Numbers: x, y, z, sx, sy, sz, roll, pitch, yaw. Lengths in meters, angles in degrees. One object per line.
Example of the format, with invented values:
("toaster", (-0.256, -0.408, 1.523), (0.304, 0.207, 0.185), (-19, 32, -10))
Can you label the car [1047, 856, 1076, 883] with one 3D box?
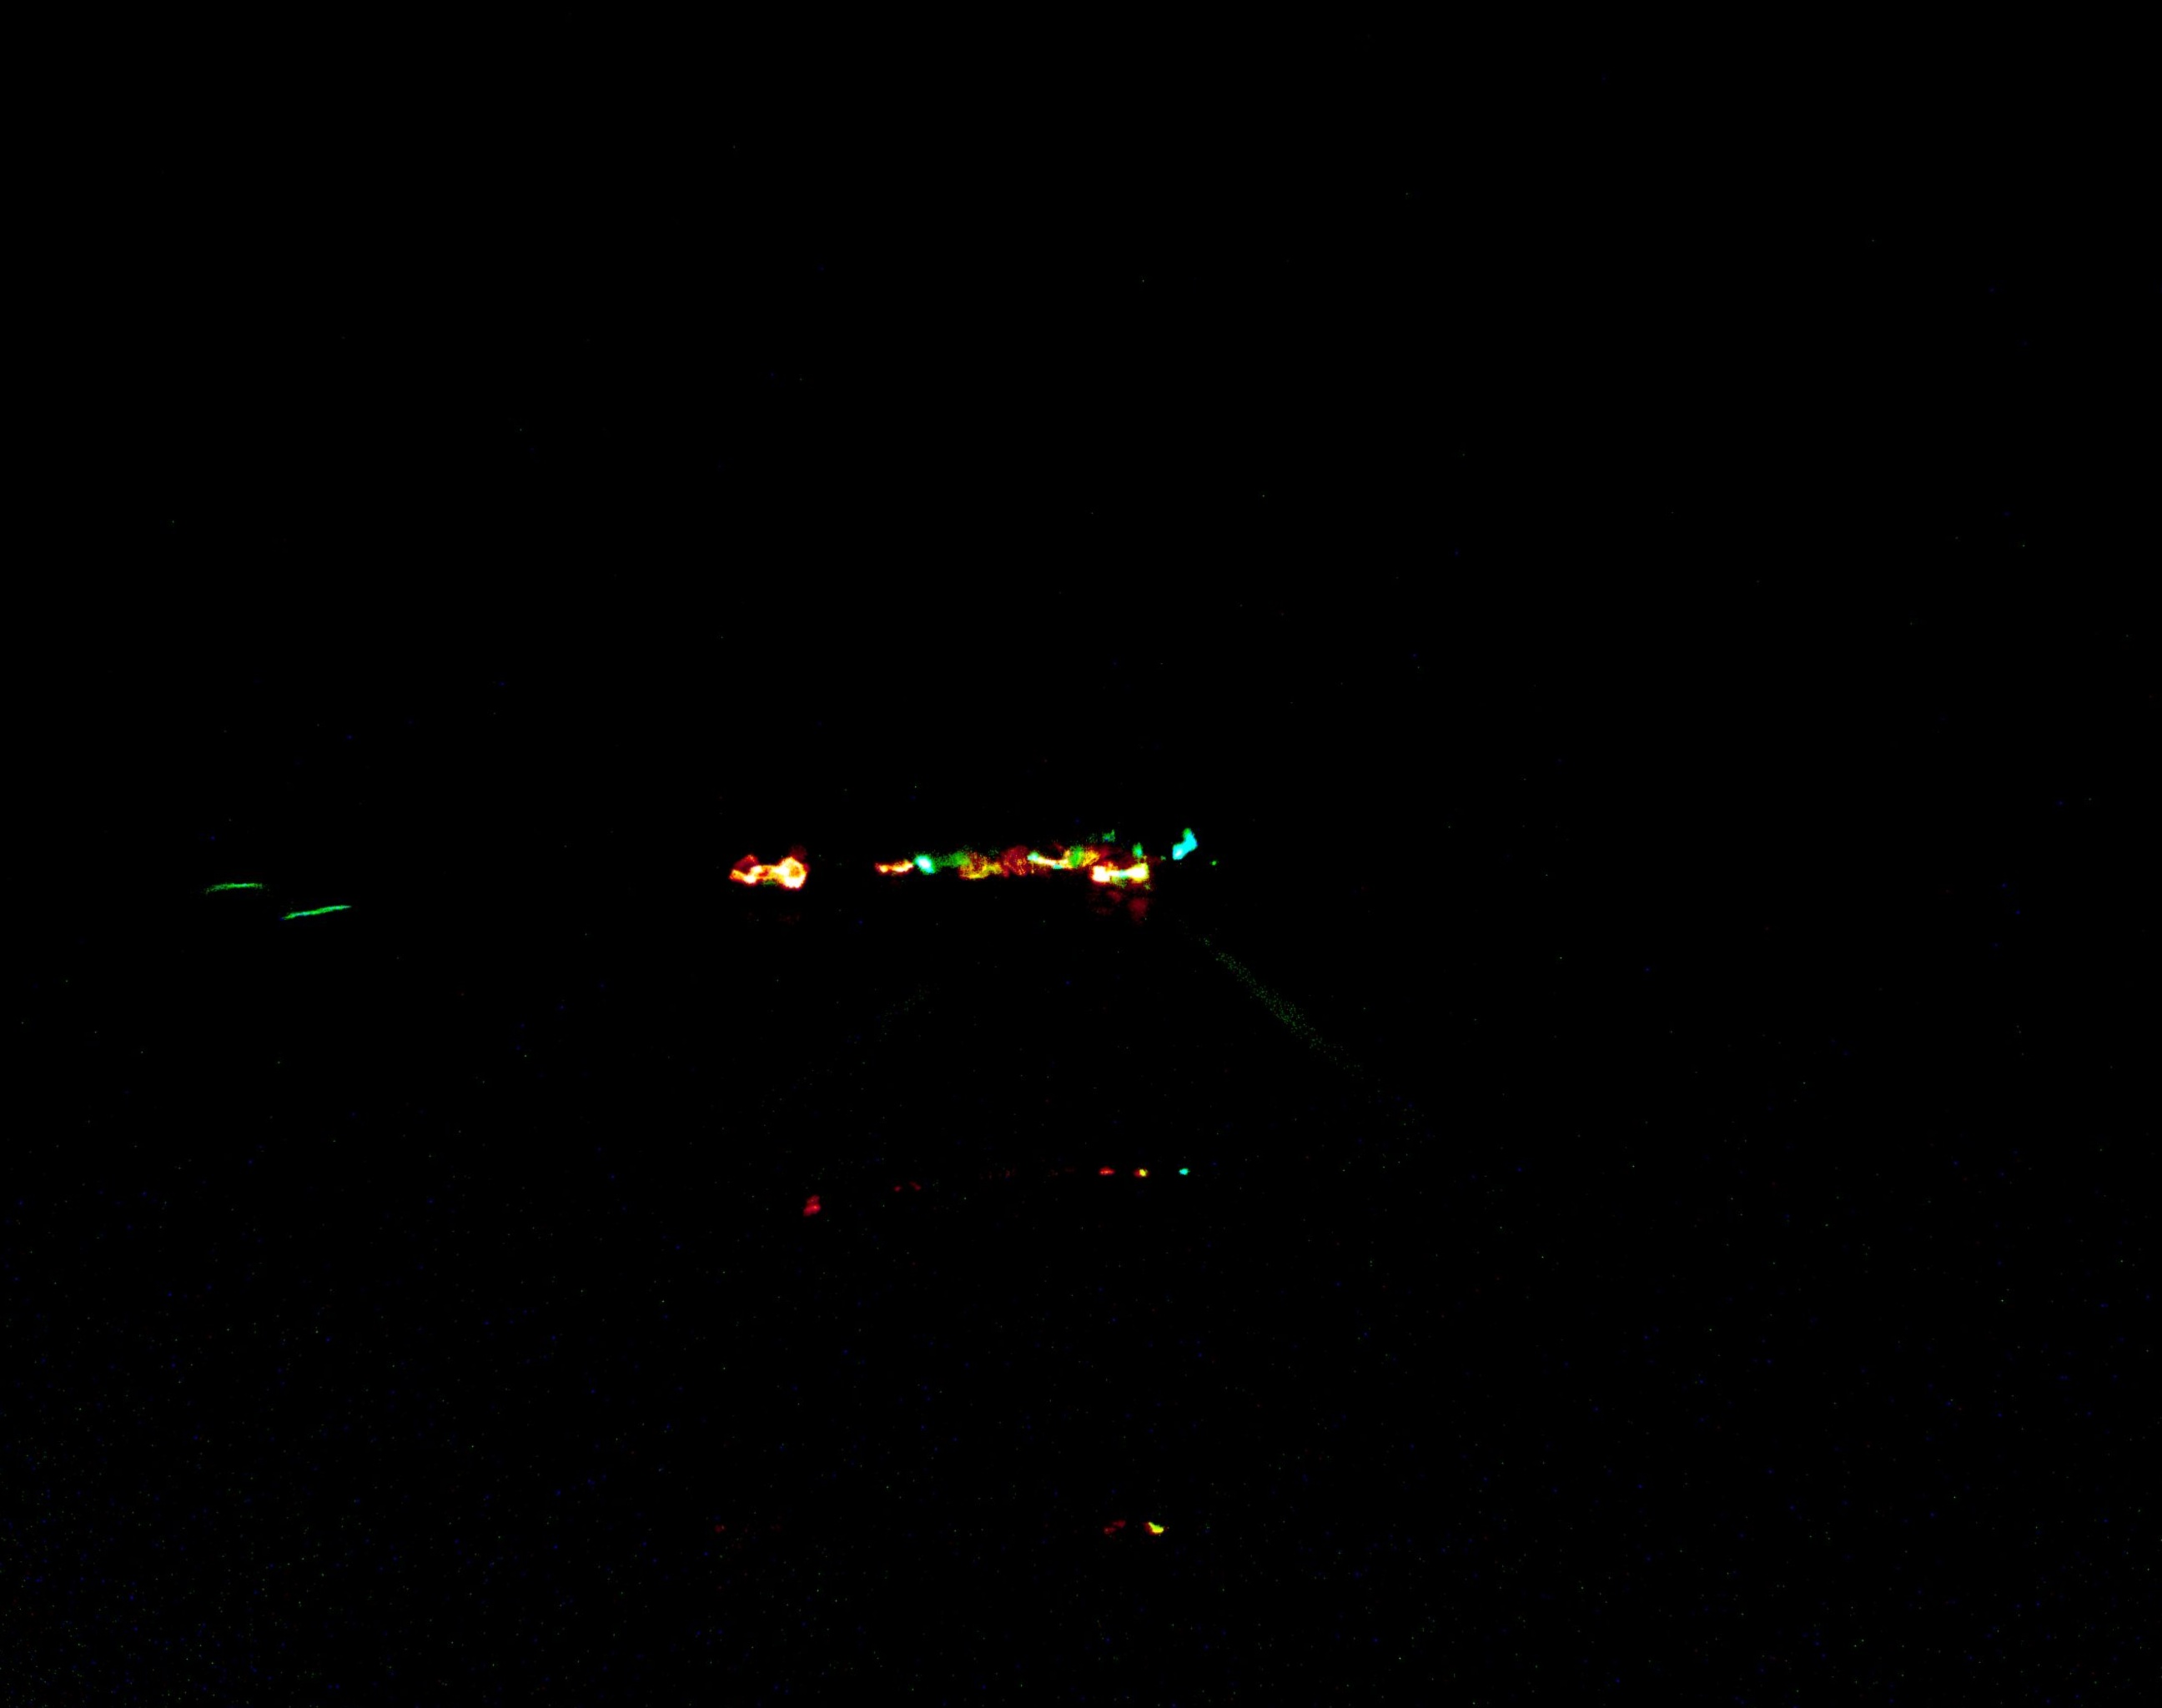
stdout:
("car", (-1.444, 1.159, 62.112), (2.119, 2.014, 4.644), (0, -1, -1))

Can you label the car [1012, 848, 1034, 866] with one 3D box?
("car", (-5.866, 0.278, 82.933), (1.988, 1.807, 3.997), (0, -1, -1))

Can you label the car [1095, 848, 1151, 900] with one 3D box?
("car", (1.547, 0.722, 30.775), (1.986, 1.807, 4.001), (0, -1, 2))

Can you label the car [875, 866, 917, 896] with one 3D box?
("car", (-10.651, 1.537, 47.051), (1.690, 1.650, 3.837), (0, -1, -2))

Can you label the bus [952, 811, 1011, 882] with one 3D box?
("bus", (-6.795, -0.415, 57.386), (3.088, 4.508, 10.905), (0, -1, -2))

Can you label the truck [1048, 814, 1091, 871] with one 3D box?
("truck", (-1.048, -1.064, 86.557), (4.195, 5.648, 11.469), (0, -1, 1))

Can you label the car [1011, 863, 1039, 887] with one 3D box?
("car", (-4.236, 1.585, 62.302), (1.988, 1.807, 3.997), (0, -1, -1))

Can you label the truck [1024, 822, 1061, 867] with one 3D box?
("truck", (-4.975, -1.106, 107.908), (4.195, 5.648, 11.469), (0, -1, 1))

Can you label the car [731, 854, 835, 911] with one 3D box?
("car", (-8.967, 0.805, 24.868), (1.990, 1.596, 3.993), (0, -1, -5))
